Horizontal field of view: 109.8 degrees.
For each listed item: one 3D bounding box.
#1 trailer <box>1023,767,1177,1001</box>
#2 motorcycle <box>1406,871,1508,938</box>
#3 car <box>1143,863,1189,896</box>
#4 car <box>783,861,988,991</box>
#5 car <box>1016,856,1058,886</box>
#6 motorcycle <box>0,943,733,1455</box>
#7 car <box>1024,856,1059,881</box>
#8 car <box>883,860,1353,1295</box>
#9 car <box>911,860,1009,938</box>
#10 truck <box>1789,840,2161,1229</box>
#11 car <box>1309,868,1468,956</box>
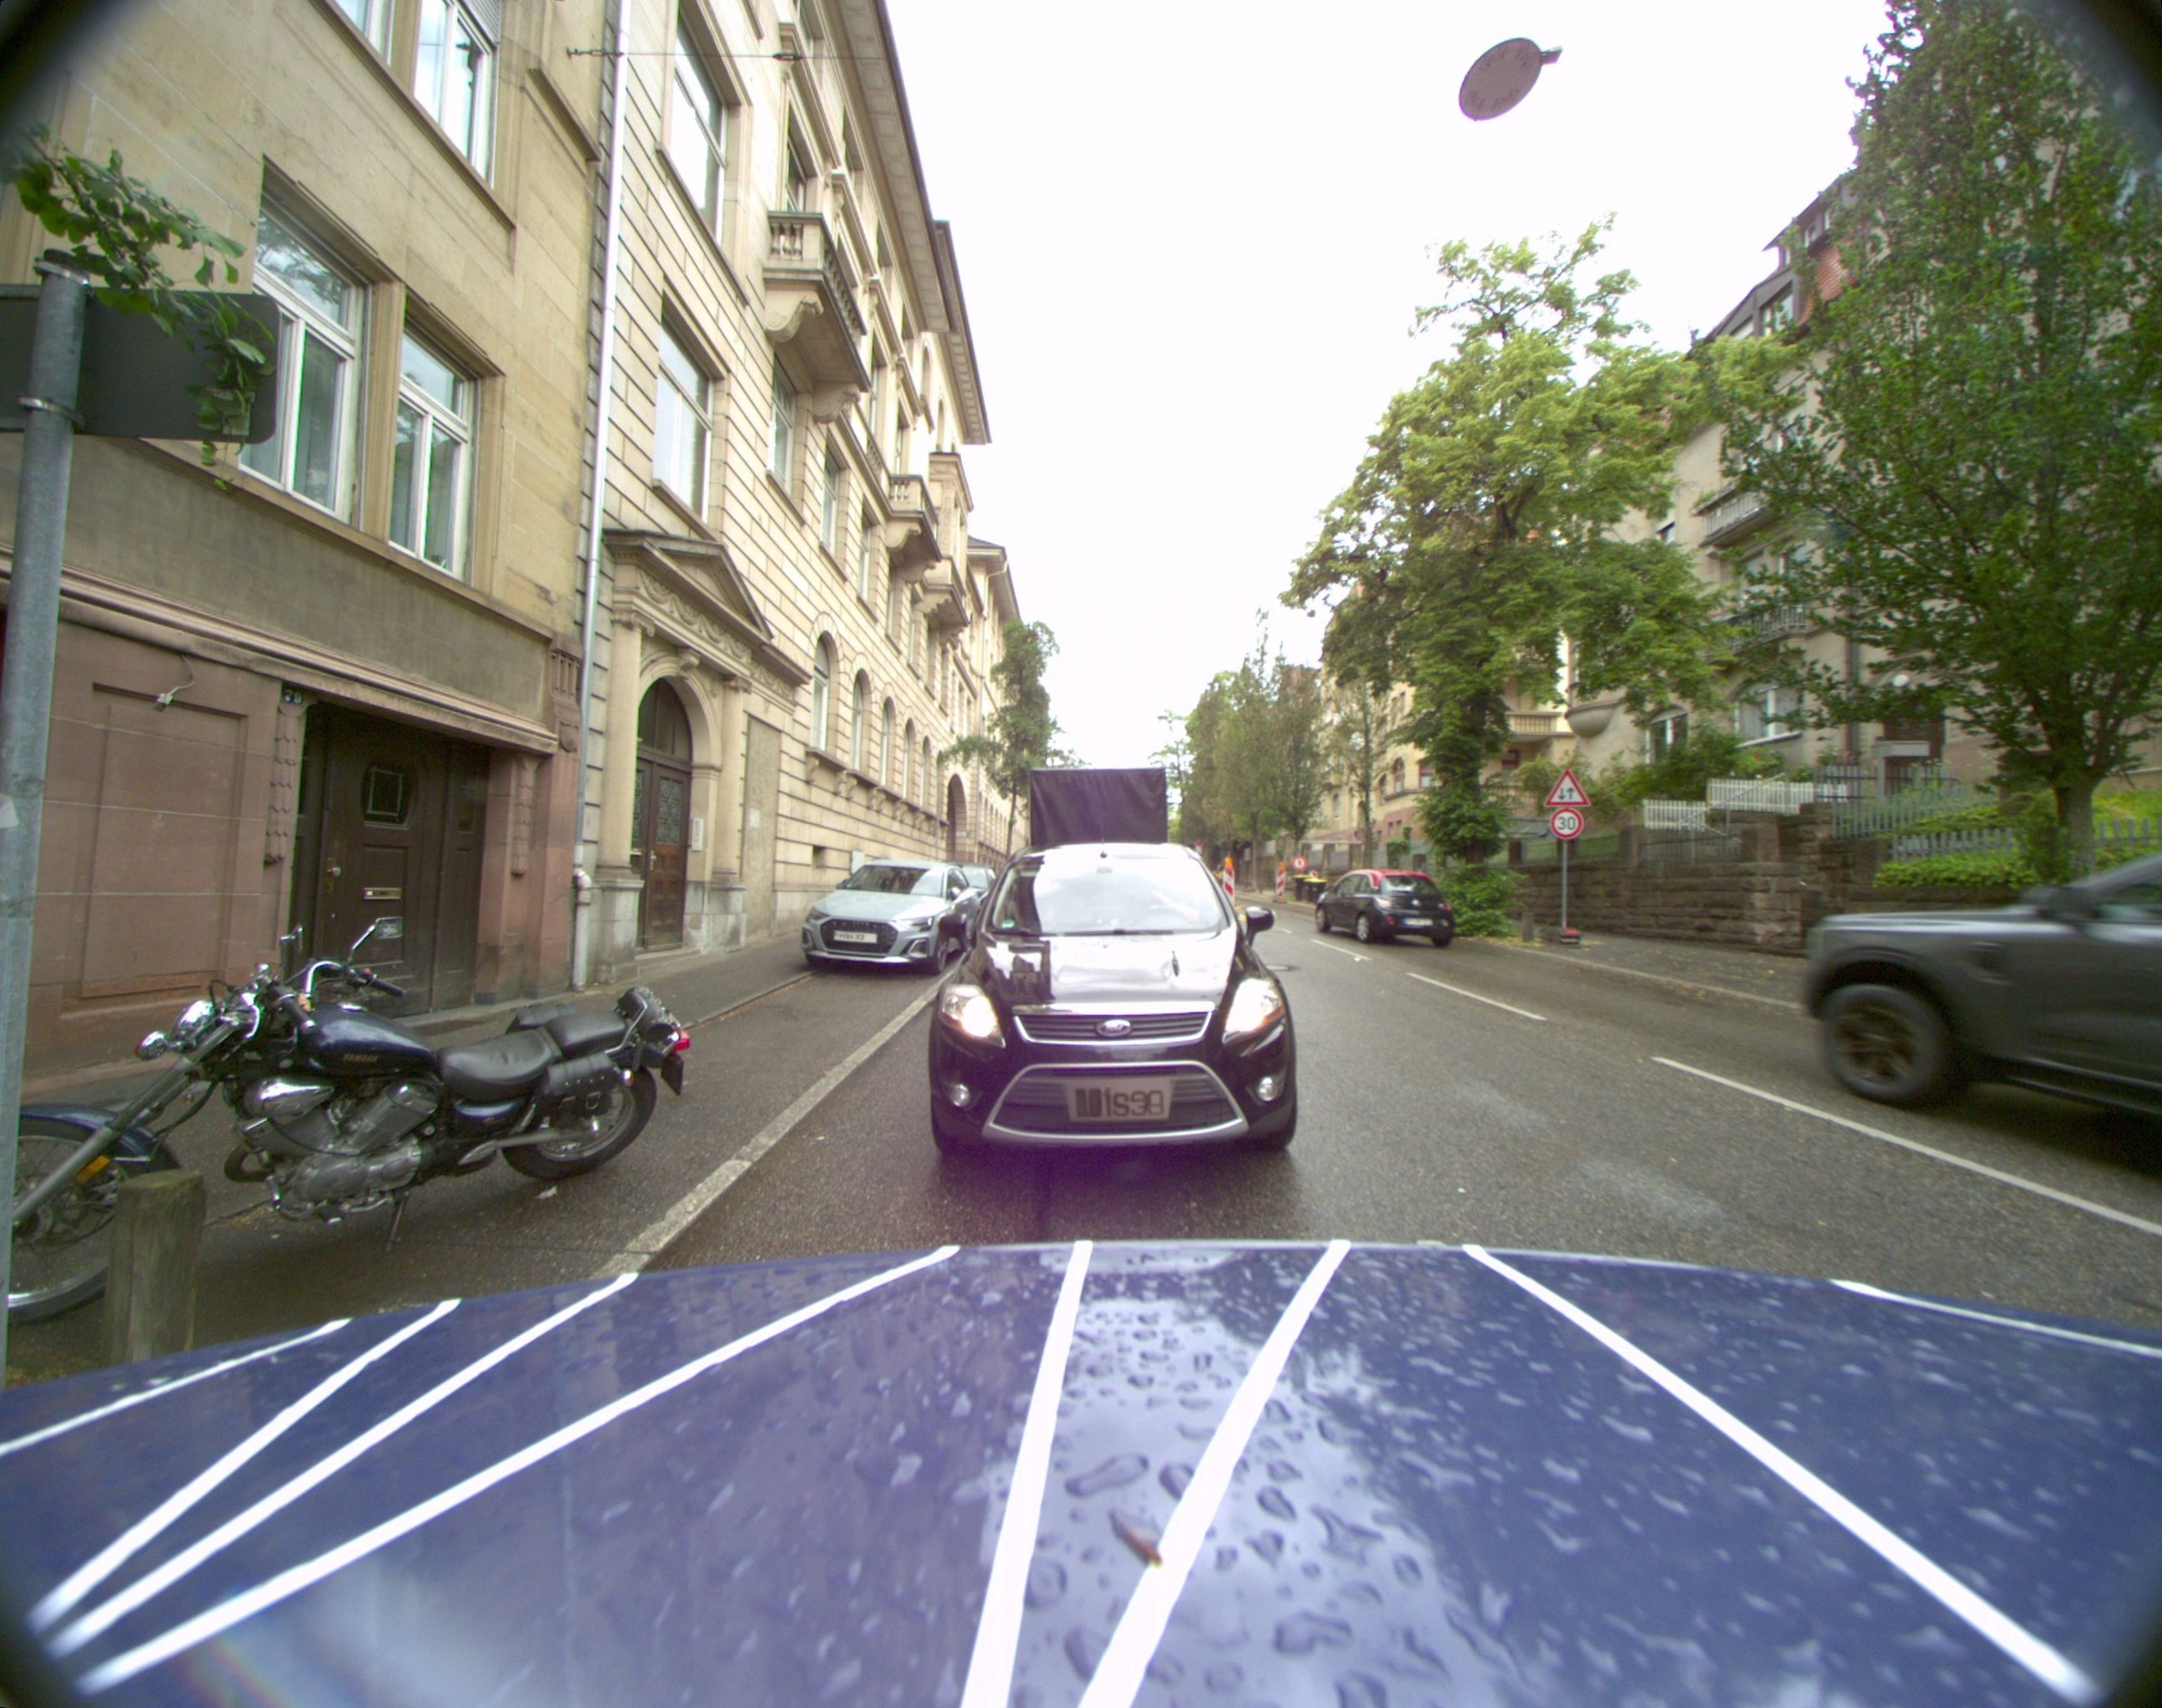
[{"bbox_3d":[0.223,0.336,11.327,1.783,2.744,4.816,0,1,0],"label":"trailer"},{"bbox_3d":[8.897,1.143,18.193,0.802,1.406,3.061,-2,0,-2],"label":"motorcycle"},{"bbox_3d":[4.251,1.259,38.608,1.910,1.502,4.318,1,0,1],"label":"car"},{"bbox_3d":[-2.597,0.883,11.140,1.794,1.444,4.039,3,0,1],"label":"car"},{"bbox_3d":[-2.394,0.890,42.455,1.910,1.502,4.318,3,0,1],"label":"car"},{"bbox_3d":[-2.565,1.013,2.776,0.523,1.236,2.282,3,-1,39],"label":"motorcycle"},{"bbox_3d":[-2.541,0.919,50.330,1.910,1.502,4.318,3,0,1],"label":"car"},{"bbox_3d":[0.198,0.891,5.221,1.823,1.662,4.522,0,0,1],"label":"car"},{"bbox_3d":[-2.533,0.893,16.559,1.495,1.440,3.181,3,0,1],"label":"car"},{"bbox_3d":[6.133,0.881,2.875,2.075,1.825,5.154,2,0,1],"label":"truck"},{"bbox_3d":[6.147,1.090,15.649,1.670,1.463,3.656,3,0,-1],"label":"car"}]
